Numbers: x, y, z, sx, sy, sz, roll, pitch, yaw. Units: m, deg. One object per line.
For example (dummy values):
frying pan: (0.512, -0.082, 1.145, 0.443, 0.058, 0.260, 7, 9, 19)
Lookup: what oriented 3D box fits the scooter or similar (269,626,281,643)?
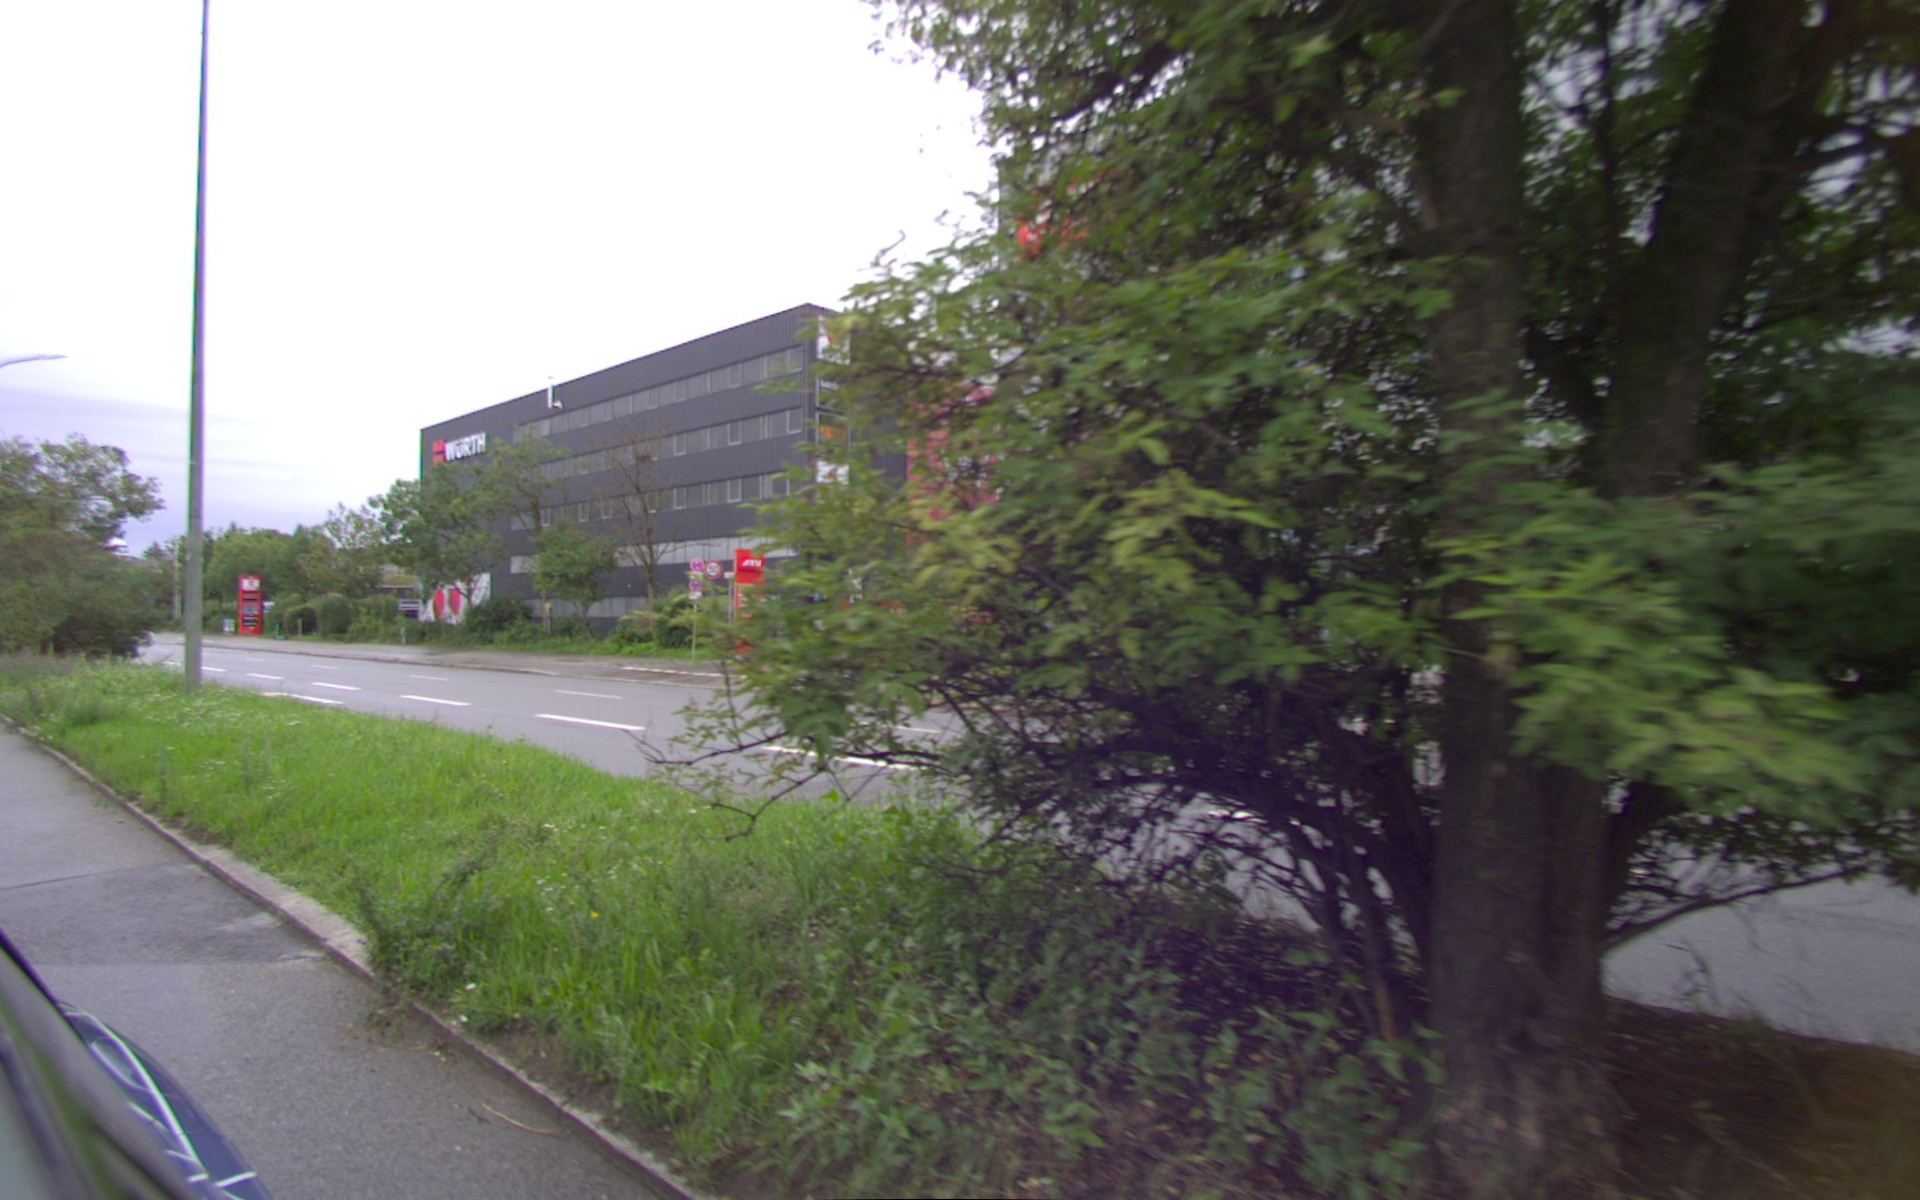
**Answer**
scooter or similar: (-43.623, 2.199, 64.479, 1.219, 1.011, 0.301, -1, 0, 40)
